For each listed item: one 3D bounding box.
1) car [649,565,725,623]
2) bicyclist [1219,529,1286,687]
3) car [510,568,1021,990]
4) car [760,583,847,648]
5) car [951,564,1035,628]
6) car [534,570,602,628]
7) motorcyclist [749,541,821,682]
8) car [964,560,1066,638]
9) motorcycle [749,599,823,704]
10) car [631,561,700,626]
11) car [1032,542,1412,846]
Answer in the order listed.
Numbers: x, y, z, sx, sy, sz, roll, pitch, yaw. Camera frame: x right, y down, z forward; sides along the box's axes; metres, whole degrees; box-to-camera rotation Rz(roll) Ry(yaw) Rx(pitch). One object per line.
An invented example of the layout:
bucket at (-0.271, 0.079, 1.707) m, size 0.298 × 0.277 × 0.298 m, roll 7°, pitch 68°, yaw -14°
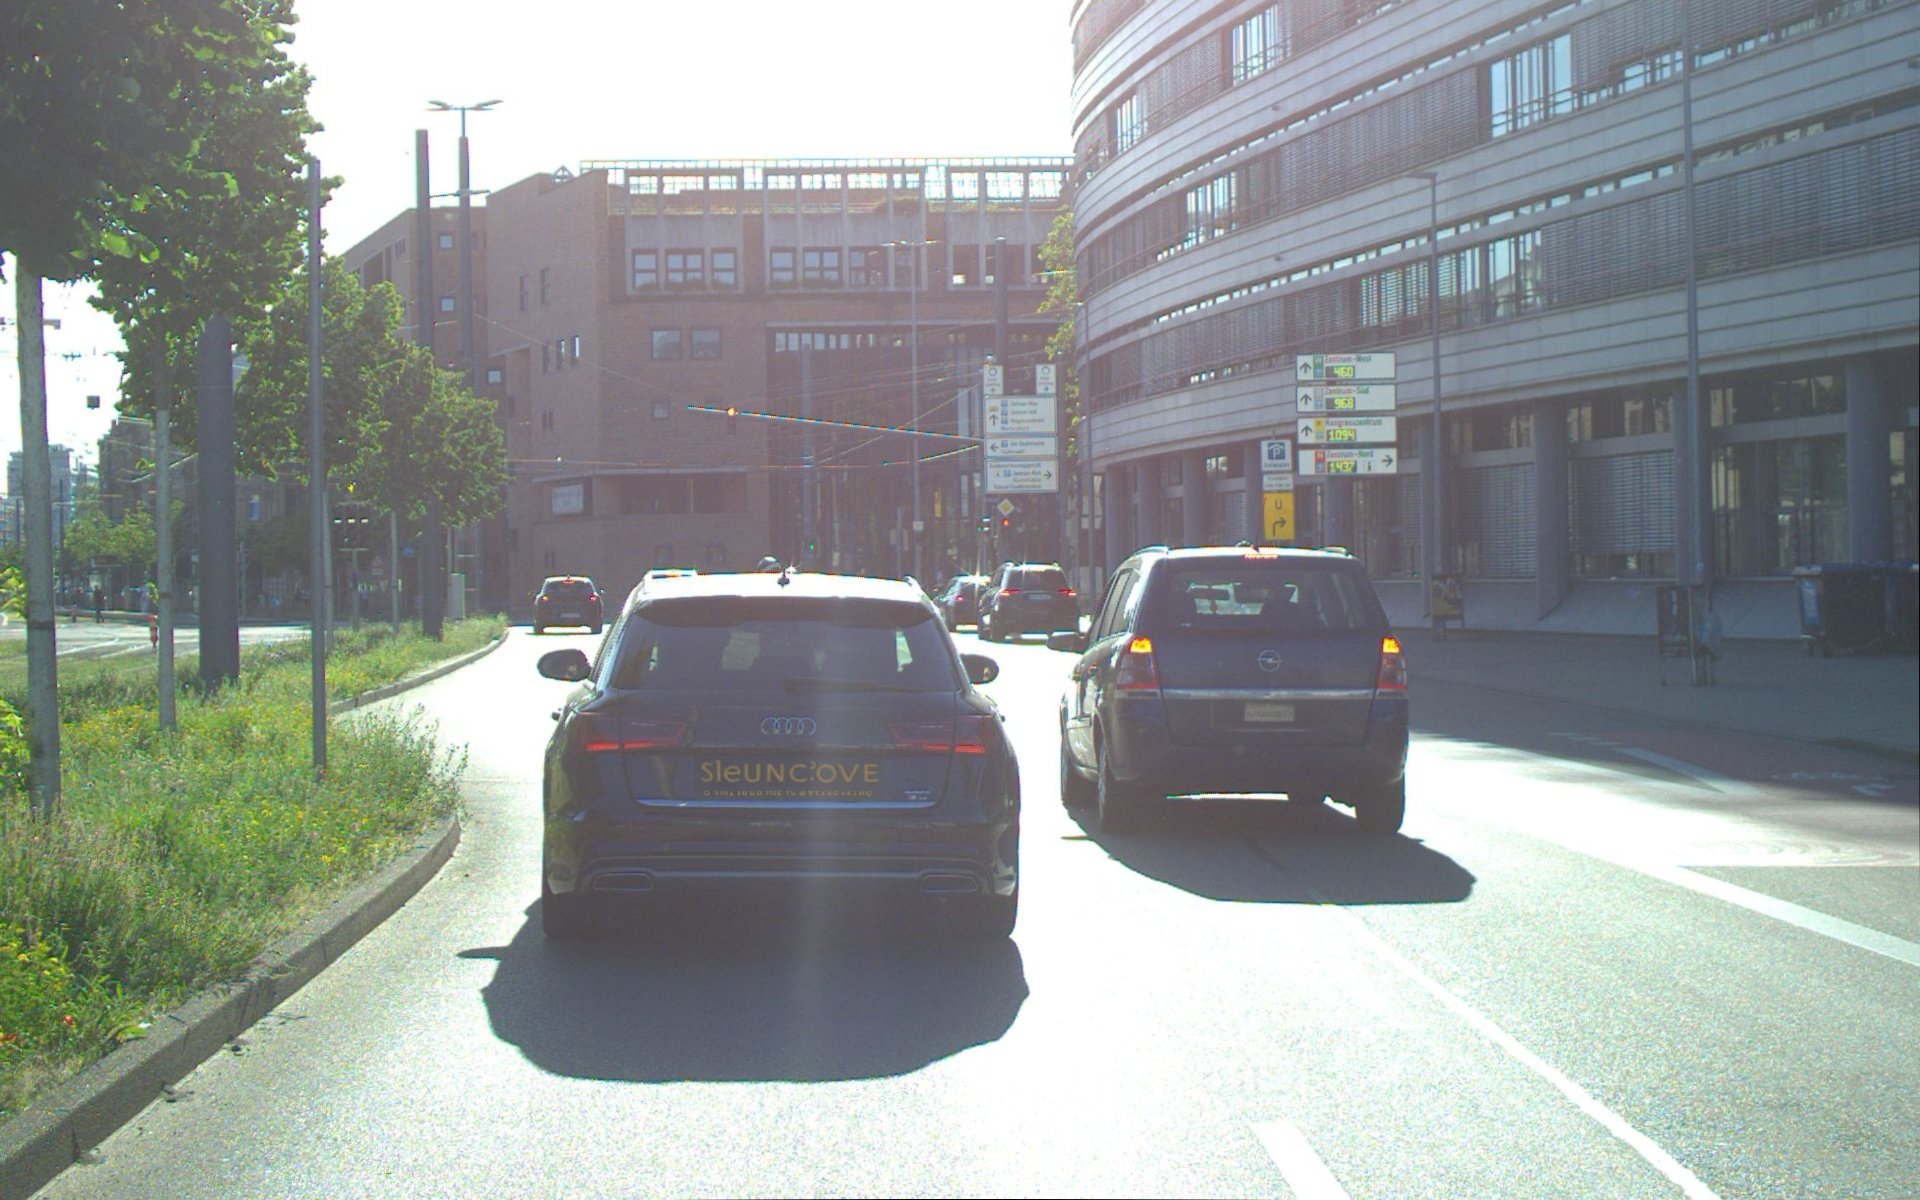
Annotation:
car at (-6.603, -0.158, 82.898) m, size 1.737 × 1.345 × 4.001 m, roll -1°, pitch 0°, yaw -6°
bicyclist at (3.363, 0.088, 39.613) m, size 0.577 × 1.785 × 0.864 m, roll -1°, pitch 0°, yaw -6°
car at (-0.750, 0.625, 14.605) m, size 1.811 × 1.487 × 4.496 m, roll -1°, pitch 0°, yaw -1°
car at (-3.657, 0.343, 79.796) m, size 1.807 × 1.452 × 4.001 m, roll 0°, pitch 0°, yaw -6°
car at (0.844, -0.120, 91.092) m, size 1.993 × 1.645 × 4.000 m, roll -1°, pitch 0°, yaw -2°
car at (-10.123, -0.035, 88.980) m, size 1.649 × 1.428 × 4.001 m, roll -1°, pitch 0°, yaw -6°
motorcyclist at (-1.939, 0.118, 38.022) m, size 0.745 × 1.525 × 1.021 m, roll -1°, pitch 0°, yaw -4°
car at (1.254, -0.049, 80.258) m, size 1.993 × 1.744 × 4.329 m, roll -1°, pitch 1°, yaw -4°
motorcycle at (-1.963, 0.562, 38.560) m, size 0.775 × 1.111 × 1.969 m, roll -1°, pitch 1°, yaw -4°
car at (-7.744, -0.172, 90.205) m, size 1.737 × 1.645 × 4.001 m, roll -1°, pitch 0°, yaw -6°
car at (1.474, 0.493, 20.935) m, size 1.688 × 1.623 × 4.463 m, roll -1°, pitch 0°, yaw -3°
